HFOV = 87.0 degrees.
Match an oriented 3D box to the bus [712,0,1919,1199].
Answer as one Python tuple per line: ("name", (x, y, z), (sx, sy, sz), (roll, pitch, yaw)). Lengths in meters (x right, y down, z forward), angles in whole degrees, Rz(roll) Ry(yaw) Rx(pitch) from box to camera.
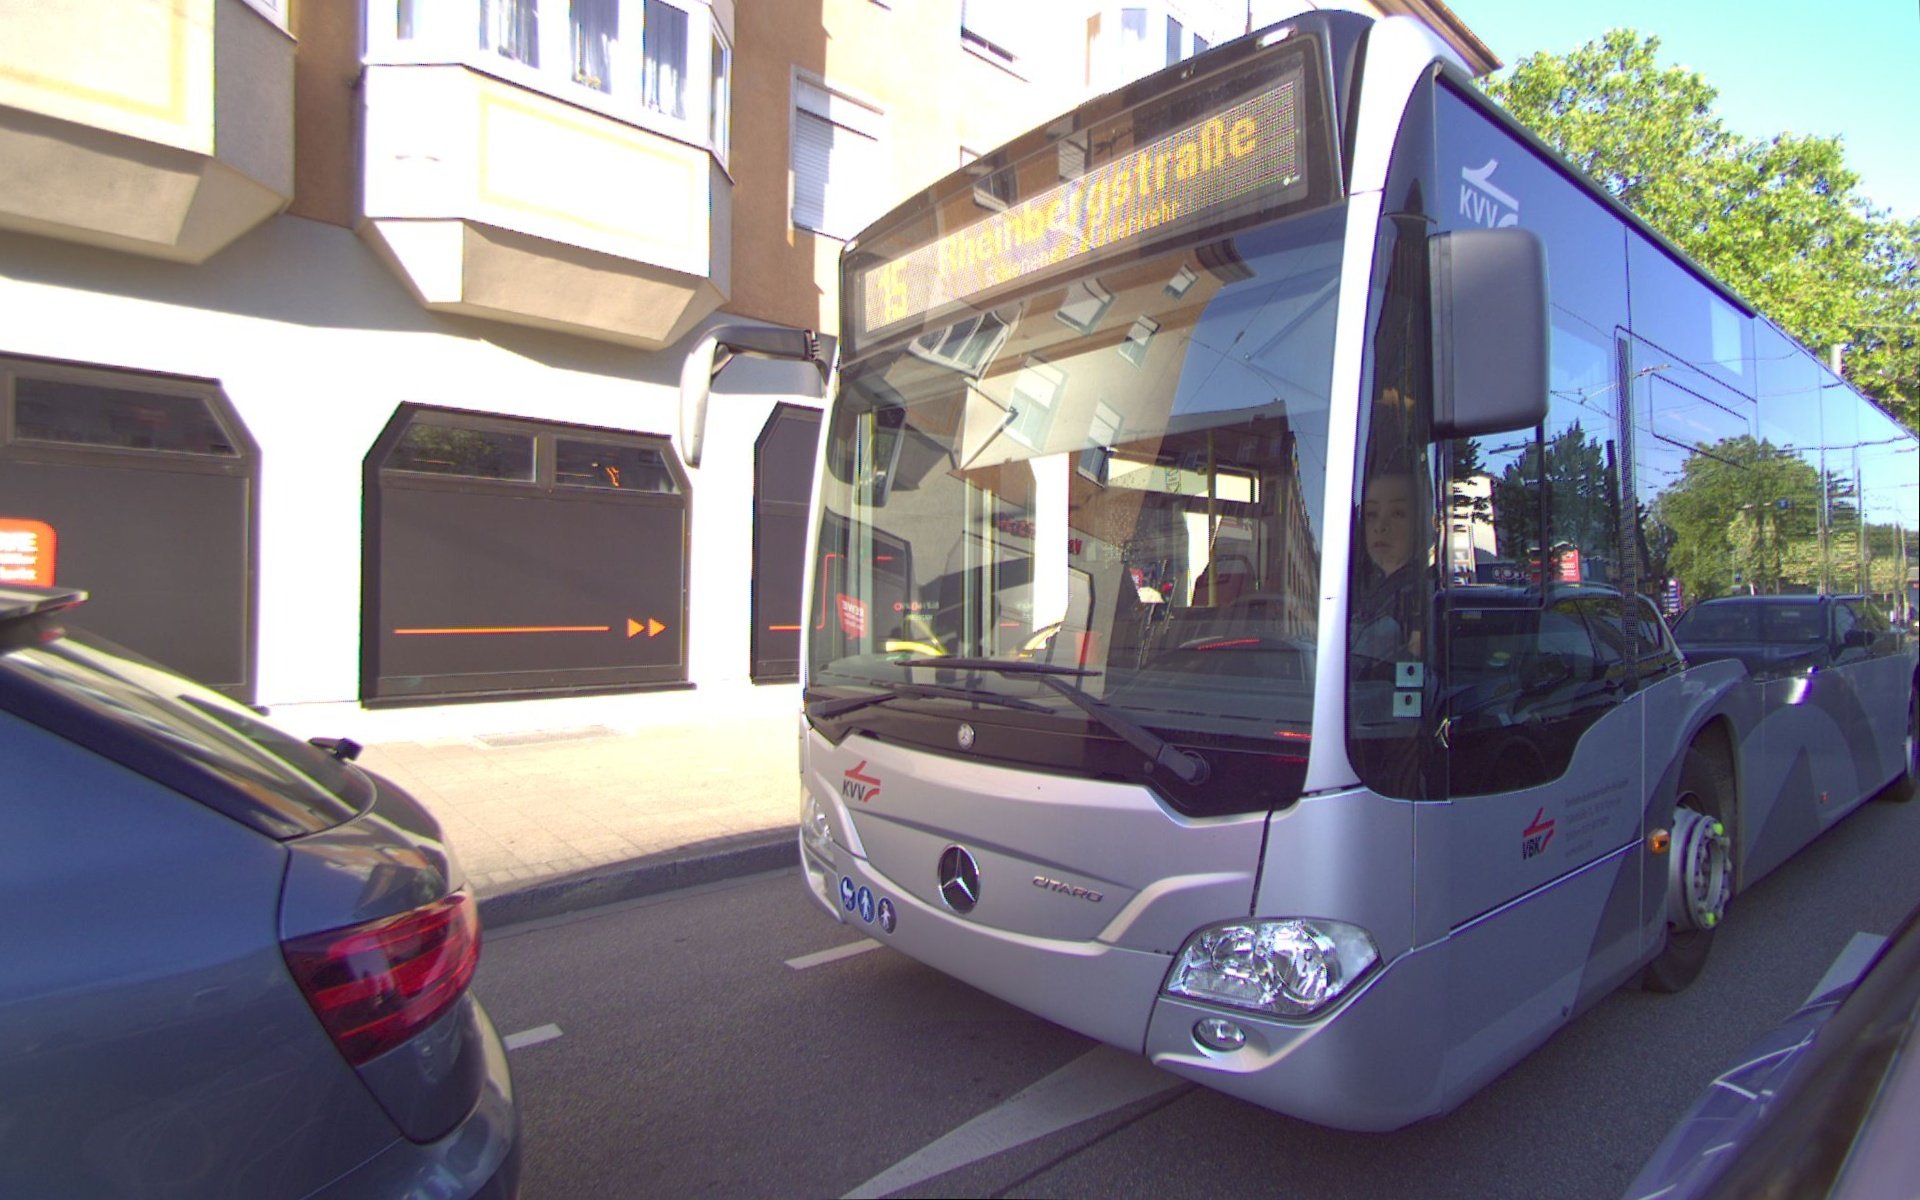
("bus", (6.487, -0.168, 8.654), (17.432, 3.189, 2.771), (0, 1, -41))

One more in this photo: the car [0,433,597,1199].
("car", (-2.596, 0.633, 0.635), (4.151, 1.572, 1.700), (0, -1, -41))

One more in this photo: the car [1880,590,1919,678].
("car", (19.492, 0.628, 19.891), (3.759, 1.628, 1.747), (-1, 0, -43))
